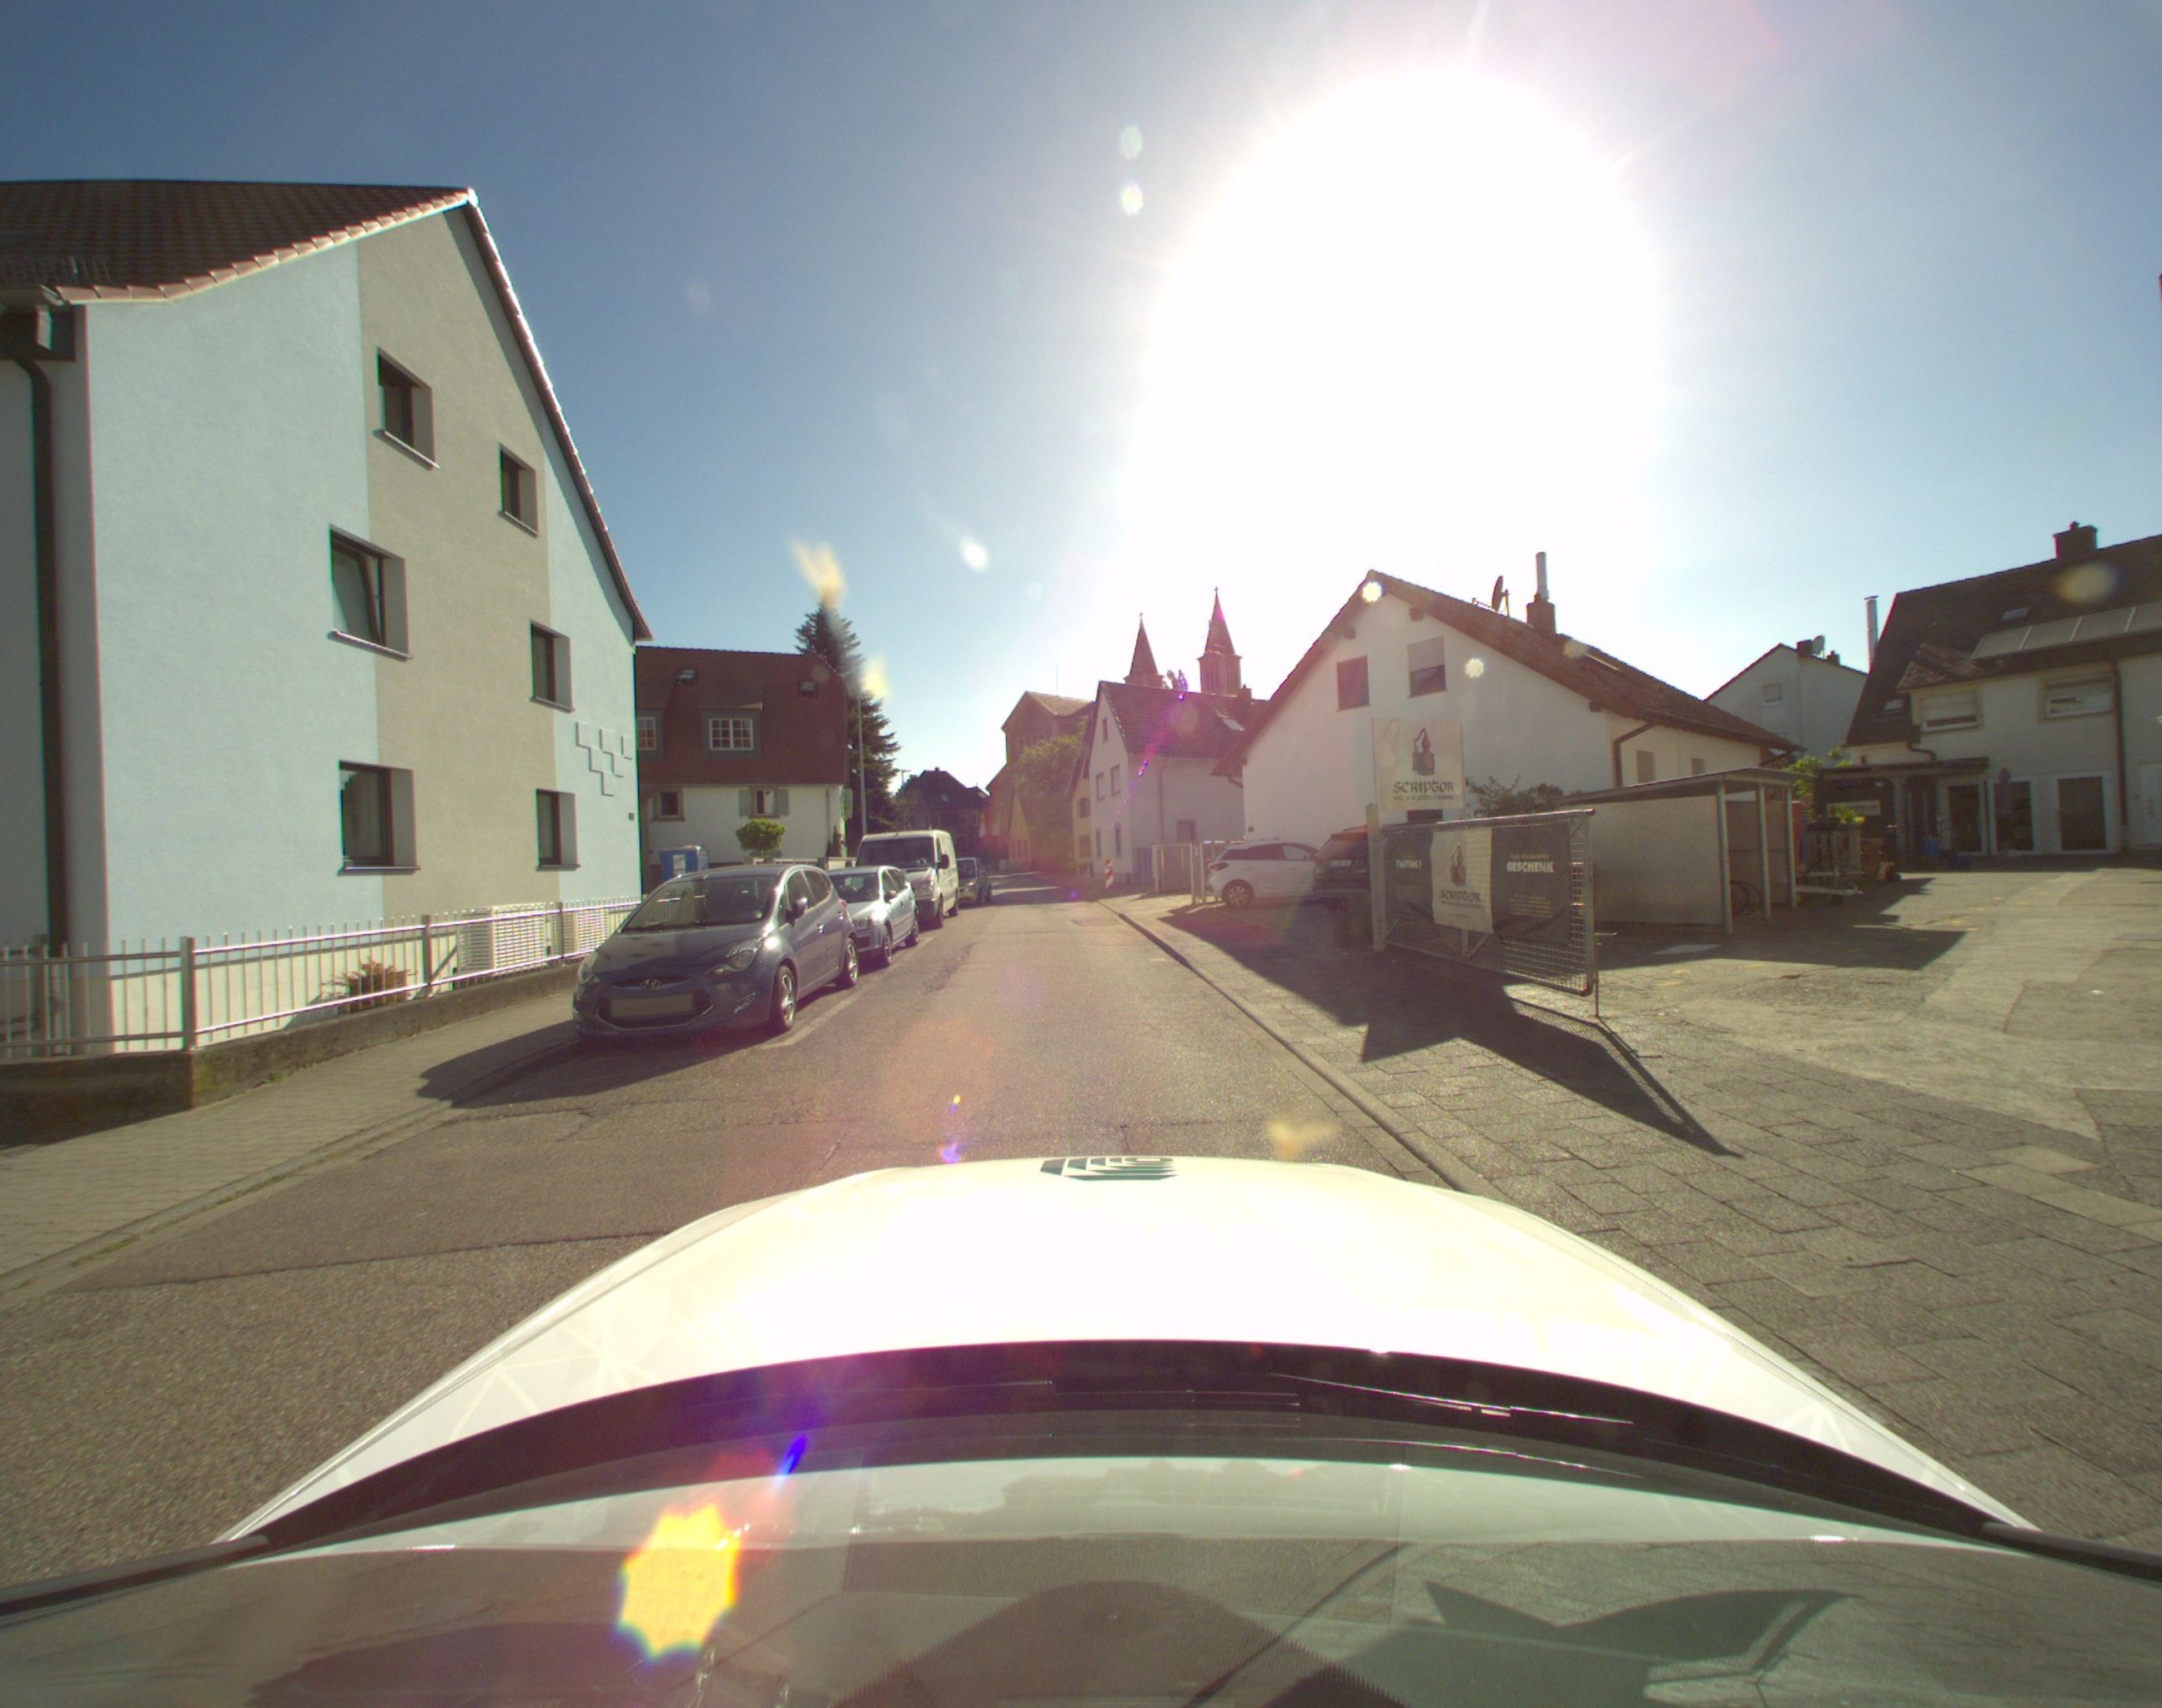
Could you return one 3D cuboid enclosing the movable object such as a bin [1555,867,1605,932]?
[{"bbox_3d":[7.377,0.661,12.042,0.518,0.923,0.418,0,-2,-32],"label":"movable object such as a bin"}]

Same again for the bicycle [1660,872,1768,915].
[{"bbox_3d":[10.460,0.652,13.494,0.372,0.656,1.351,-3,0,-36],"label":"bicycle"}]

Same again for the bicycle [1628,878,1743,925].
[{"bbox_3d":[9.252,0.713,12.508,0.372,0.656,1.351,-3,0,-36],"label":"bicycle"}]

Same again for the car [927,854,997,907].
[{"bbox_3d":[-3.833,0.815,26.665,1.567,1.546,2.968,-3,0,4],"label":"car"}]

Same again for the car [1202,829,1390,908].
[{"bbox_3d":[4.841,0.328,18.794,3.893,1.492,1.850,-4,0,5],"label":"car"}]

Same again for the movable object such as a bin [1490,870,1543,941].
[{"bbox_3d":[5.921,0.686,11.066,0.518,0.923,0.418,0,-2,-32],"label":"movable object such as a bin"}]

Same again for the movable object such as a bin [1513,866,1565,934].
[{"bbox_3d":[6.386,0.627,11.357,0.518,0.923,0.418,0,-2,-32],"label":"movable object such as a bin"}]

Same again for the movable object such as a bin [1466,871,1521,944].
[{"bbox_3d":[5.459,0.695,10.782,0.518,0.923,0.418,0,-2,-32],"label":"movable object such as a bin"}]

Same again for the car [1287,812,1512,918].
[{"bbox_3d":[6.166,0.153,15.666,4.063,1.688,1.893,-4,0,-31],"label":"car"}]

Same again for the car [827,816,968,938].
[{"bbox_3d":[-4.278,0.479,20.185,2.192,2.389,6.058,-5,0,-3],"label":"car"}]

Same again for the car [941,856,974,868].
[{"bbox_3d":[-17.119,1.127,113.192,4.272,1.400,1.697,-3,0,-44],"label":"car"}]

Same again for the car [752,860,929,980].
[{"bbox_3d":[-3.686,0.913,13.258,1.708,1.504,4.231,-4,0,-3],"label":"car"}]

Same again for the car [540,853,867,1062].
[{"bbox_3d":[-3.626,0.850,8.687,1.711,1.598,3.921,-4,0,-3],"label":"car"}]

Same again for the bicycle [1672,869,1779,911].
[{"bbox_3d":[10.831,0.597,13.721,0.372,0.656,1.351,-3,0,-36],"label":"bicycle"}]

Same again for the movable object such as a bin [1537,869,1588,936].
[{"bbox_3d":[6.923,0.686,11.717,0.518,0.923,0.418,0,-2,-32],"label":"movable object such as a bin"}]
